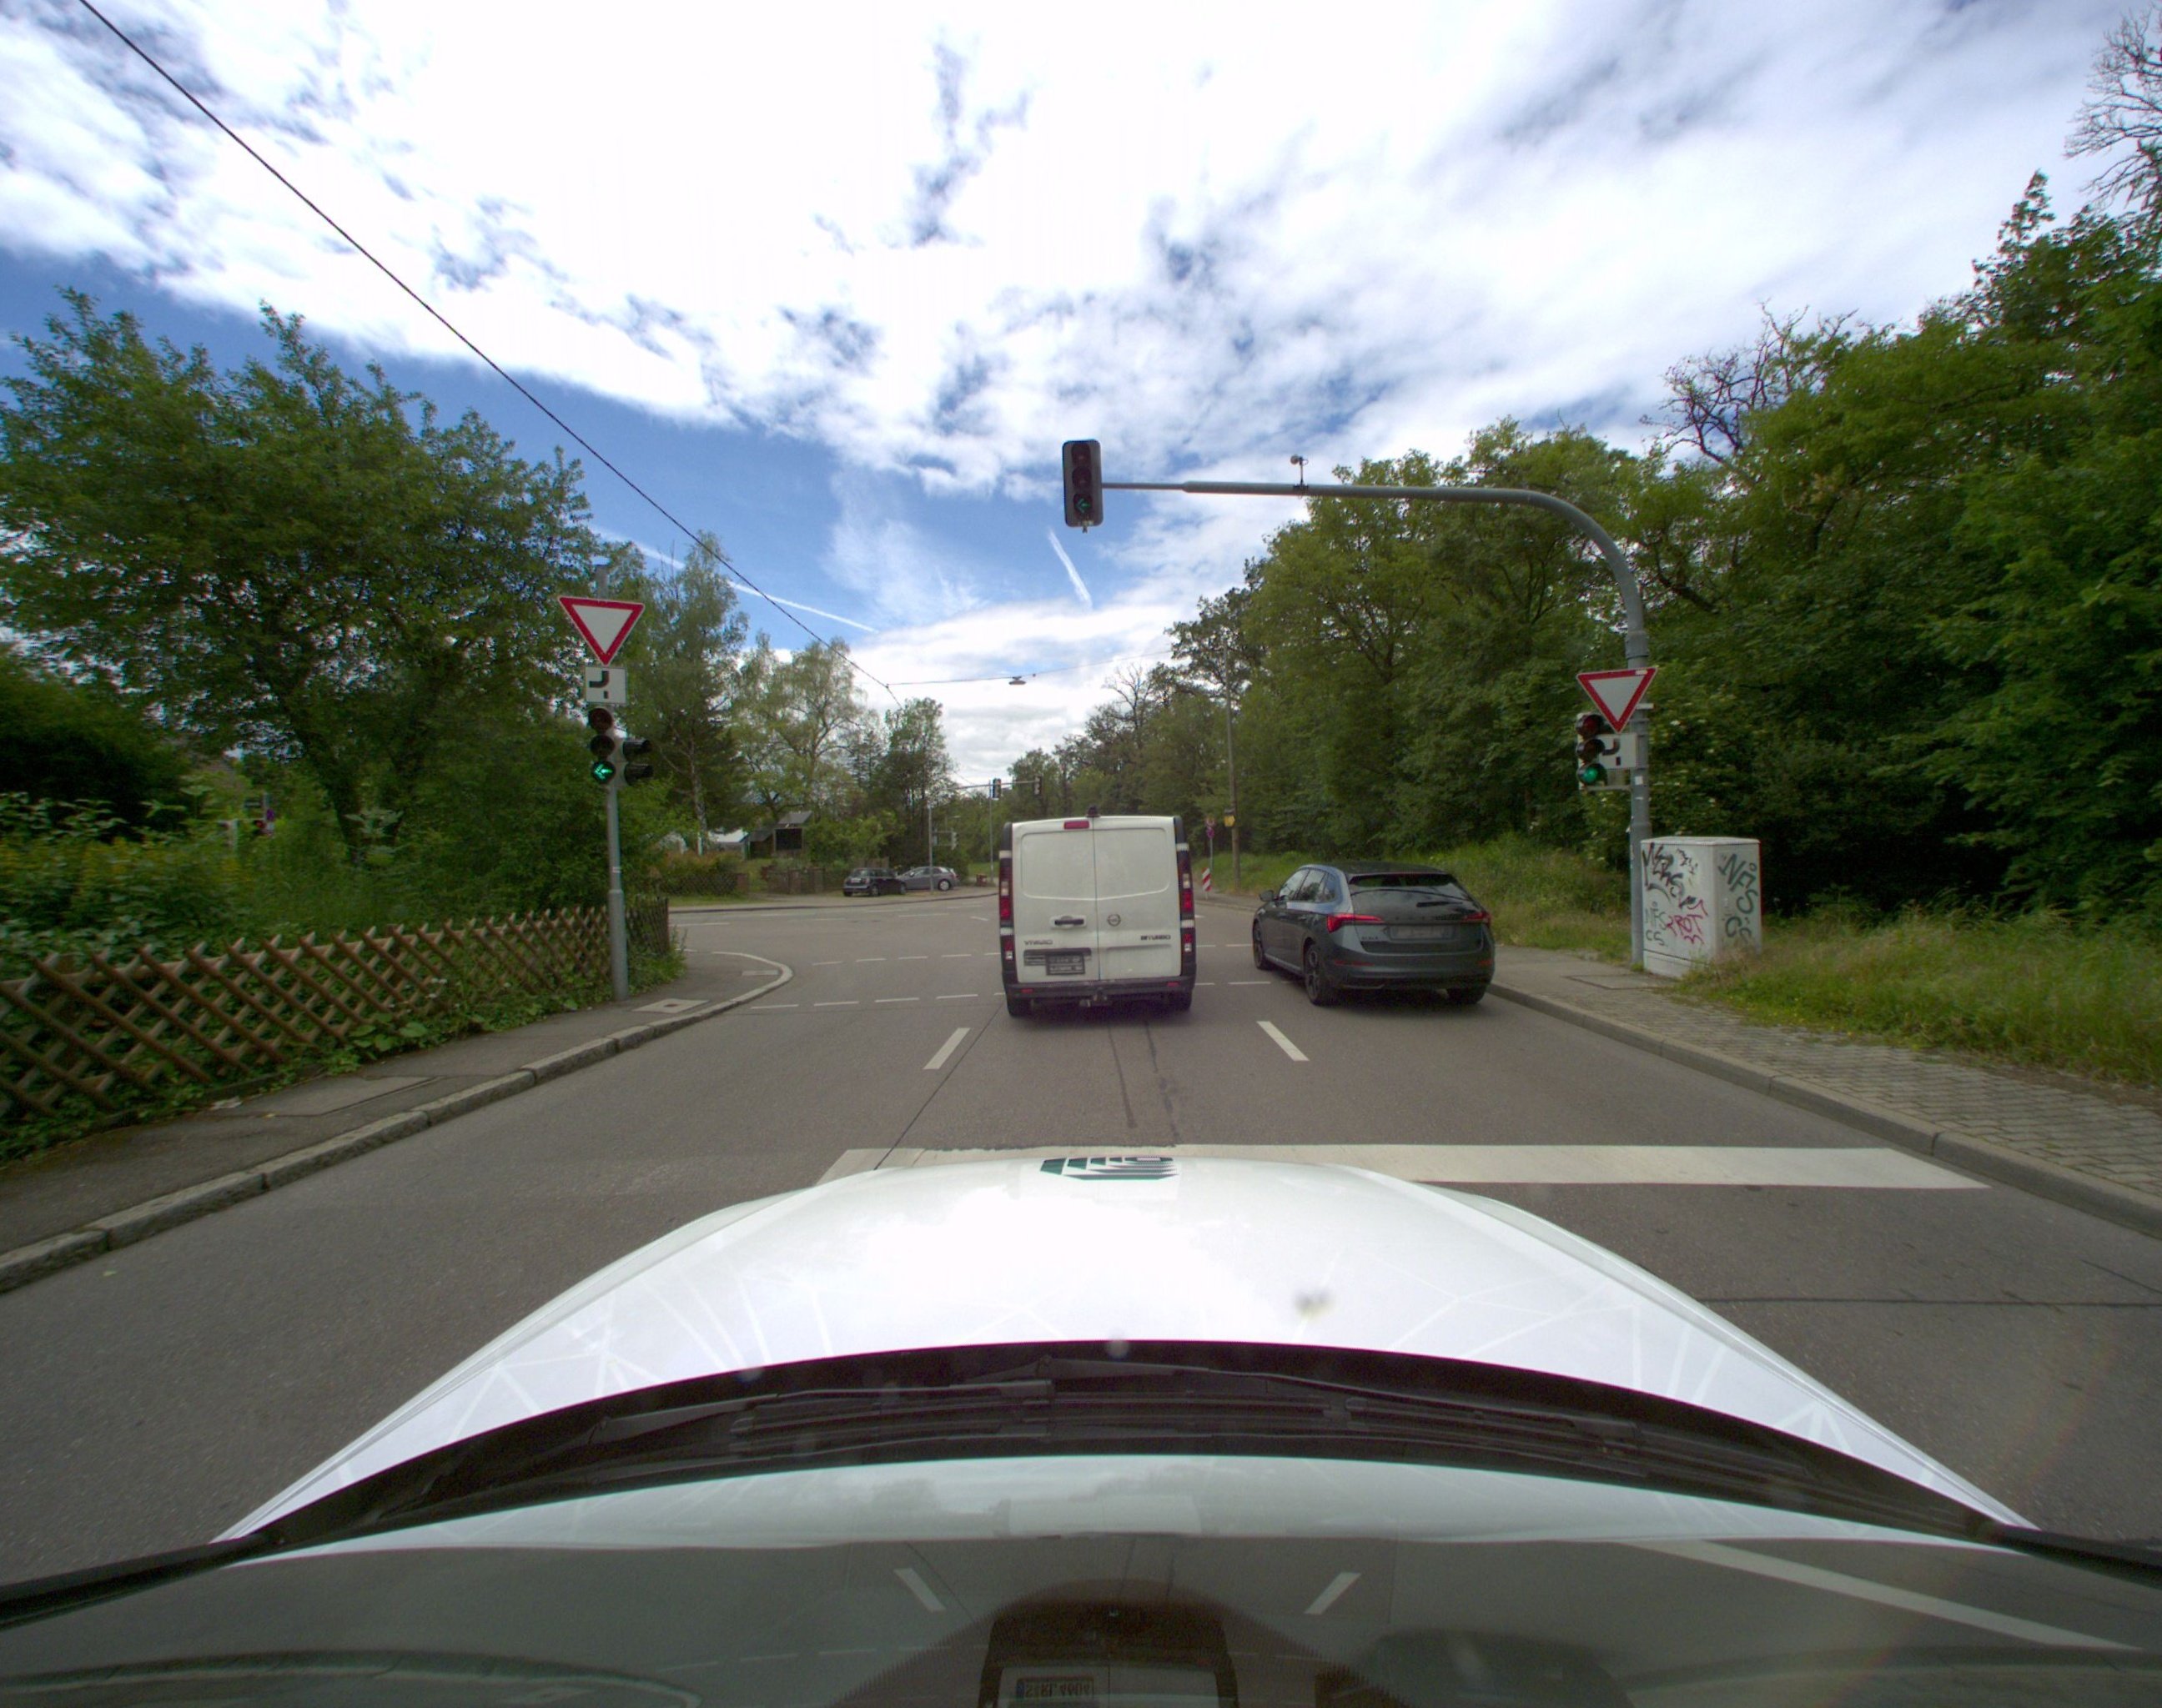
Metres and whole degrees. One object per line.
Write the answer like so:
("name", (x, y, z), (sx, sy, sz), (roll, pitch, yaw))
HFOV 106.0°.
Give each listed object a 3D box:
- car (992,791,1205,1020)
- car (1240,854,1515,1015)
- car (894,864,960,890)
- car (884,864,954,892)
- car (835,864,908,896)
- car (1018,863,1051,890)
("car", (0.161, 0.473, 9.621), (1.910, 2.053, 4.613), (0, 0, 0))
("car", (3.141, 0.753, 9.550), (1.786, 1.450, 4.000), (-1, 0, 1))
("car", (-10.145, 1.488, 53.594), (4.094, 1.553, 1.845), (-1, 0, -15))
("car", (-10.083, 1.474, 50.577), (4.094, 1.553, 1.845), (-1, 0, -15))
("car", (-10.320, 1.252, 40.316), (1.683, 1.449, 3.562), (1, 0, 22))
("car", (-2.740, 1.311, 48.821), (1.852, 1.507, 3.996), (-1, 0, -2))
